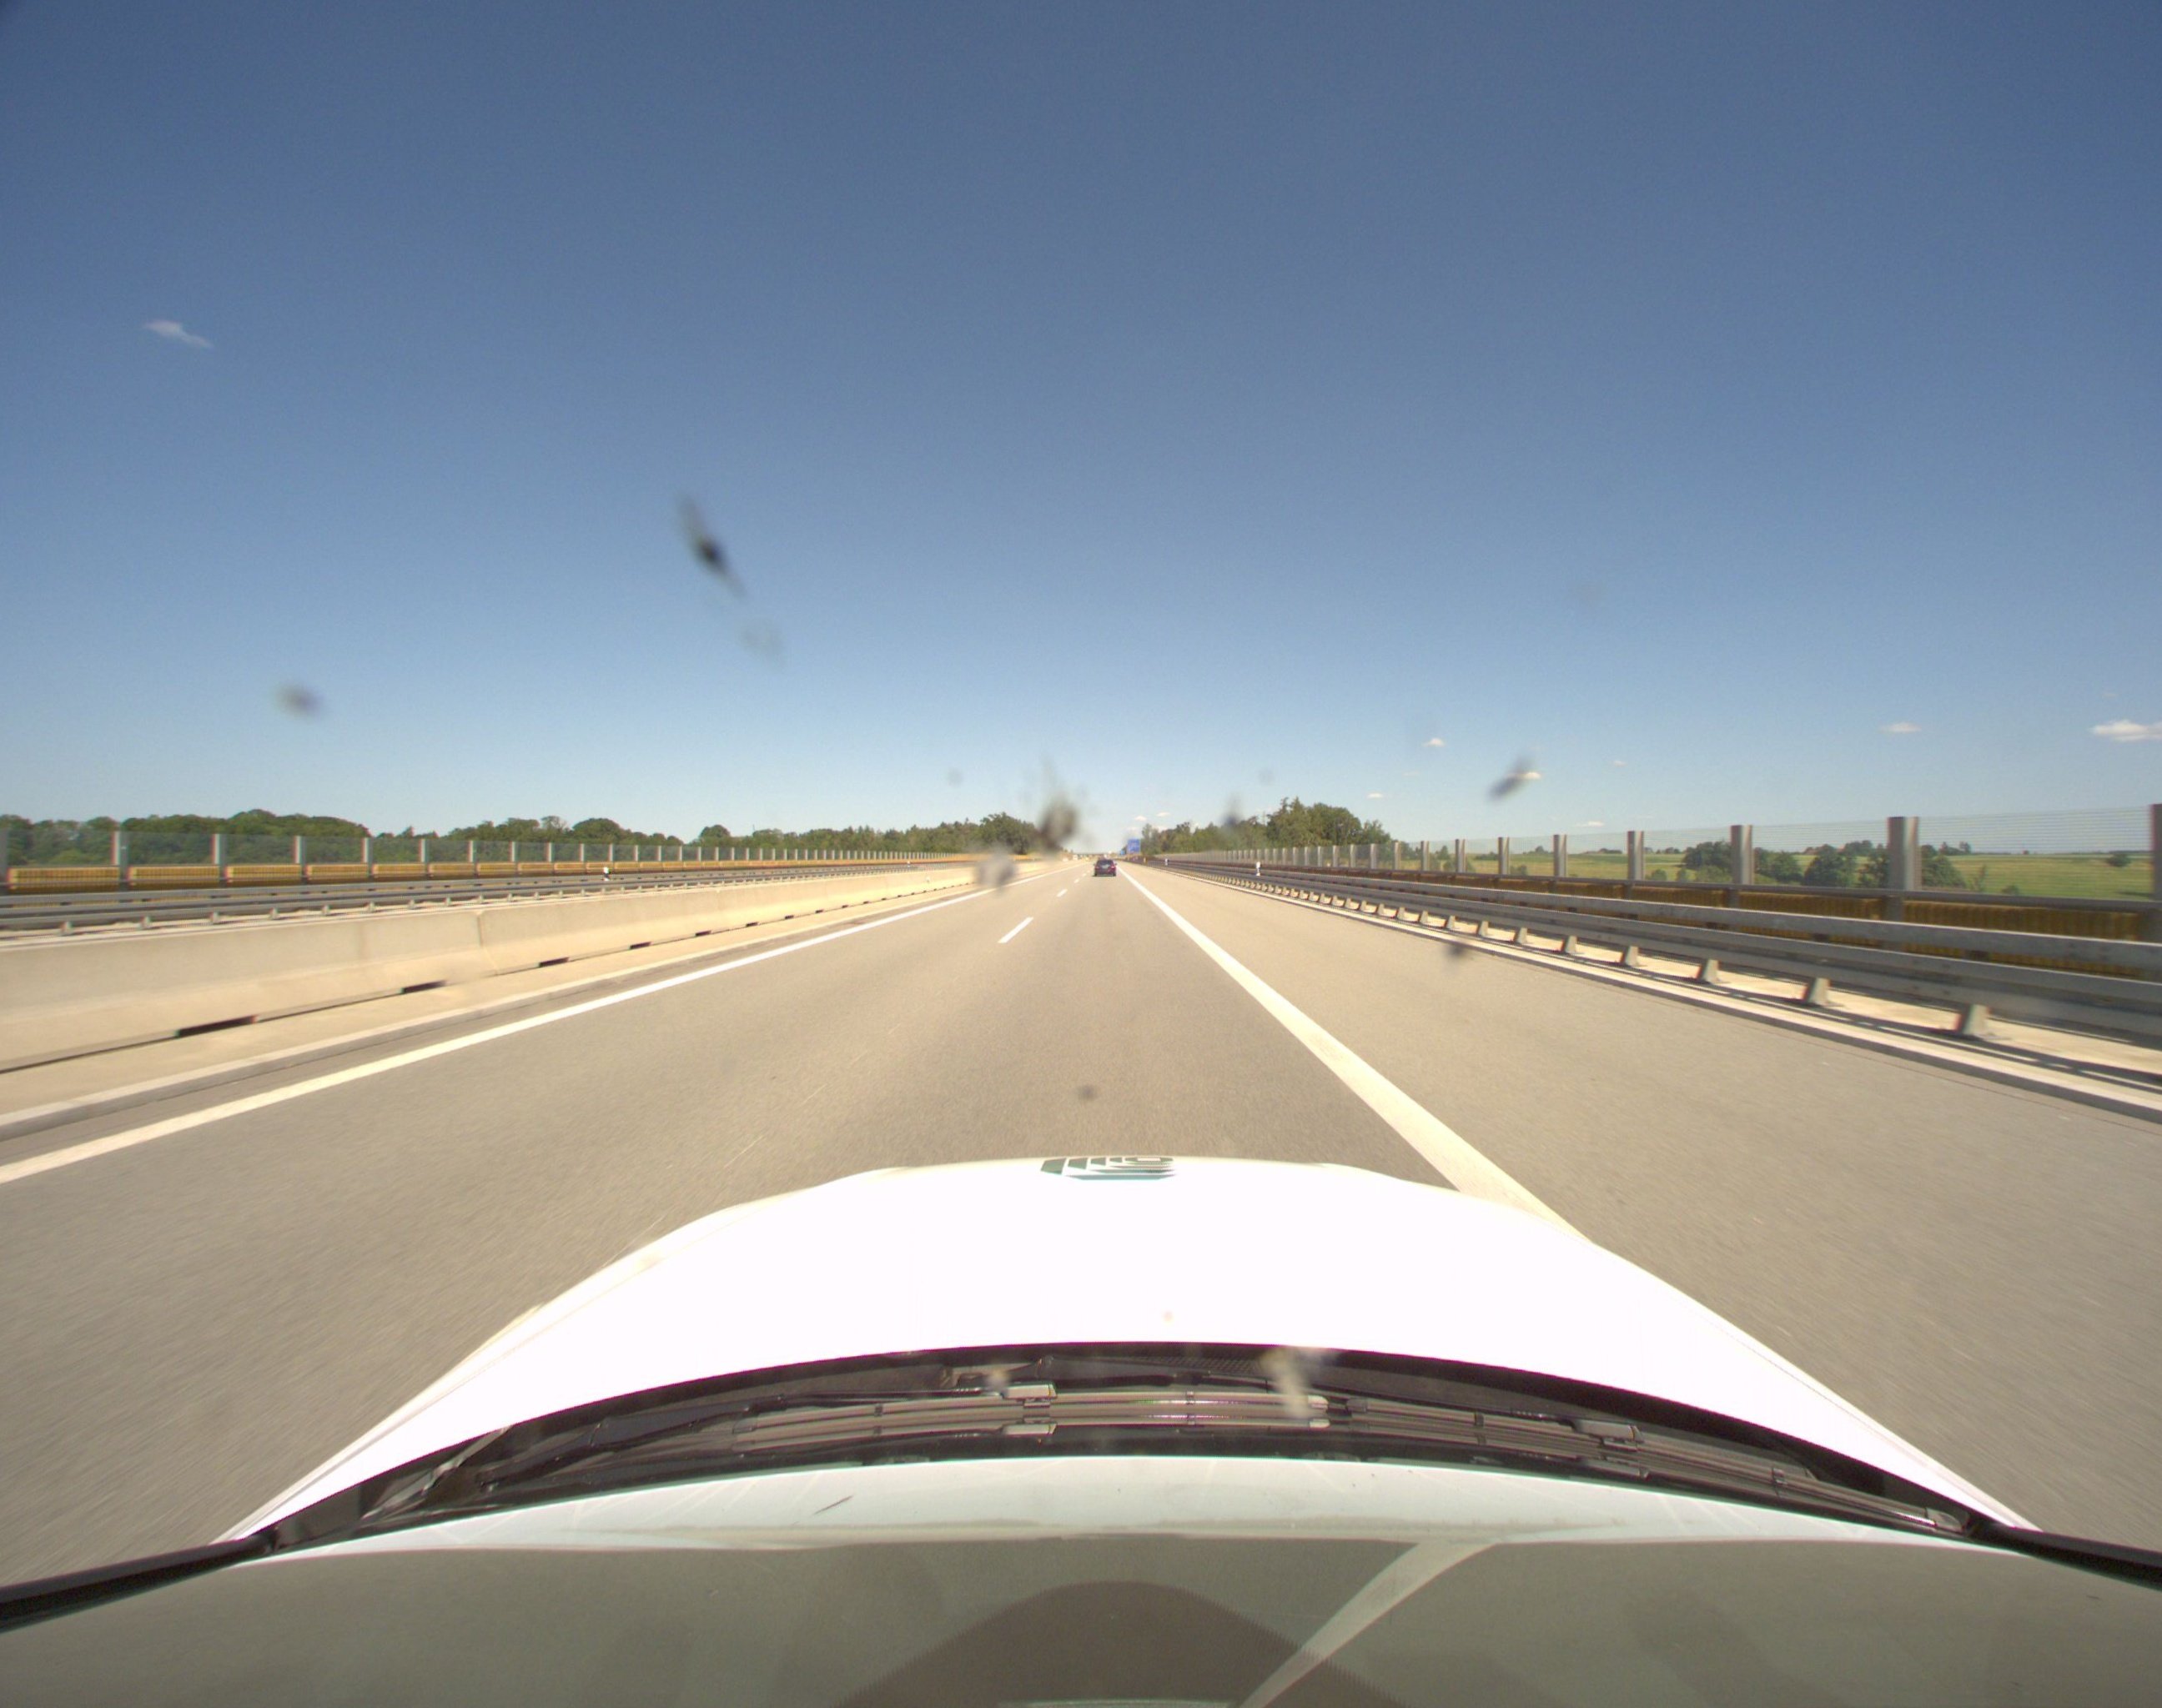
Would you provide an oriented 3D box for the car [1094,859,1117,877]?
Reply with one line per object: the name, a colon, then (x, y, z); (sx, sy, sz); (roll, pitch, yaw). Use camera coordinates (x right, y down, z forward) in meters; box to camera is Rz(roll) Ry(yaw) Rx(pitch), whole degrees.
car: (1.973, 1.114, 65.927); (1.783, 1.374, 3.918); (0, 0, 2)
